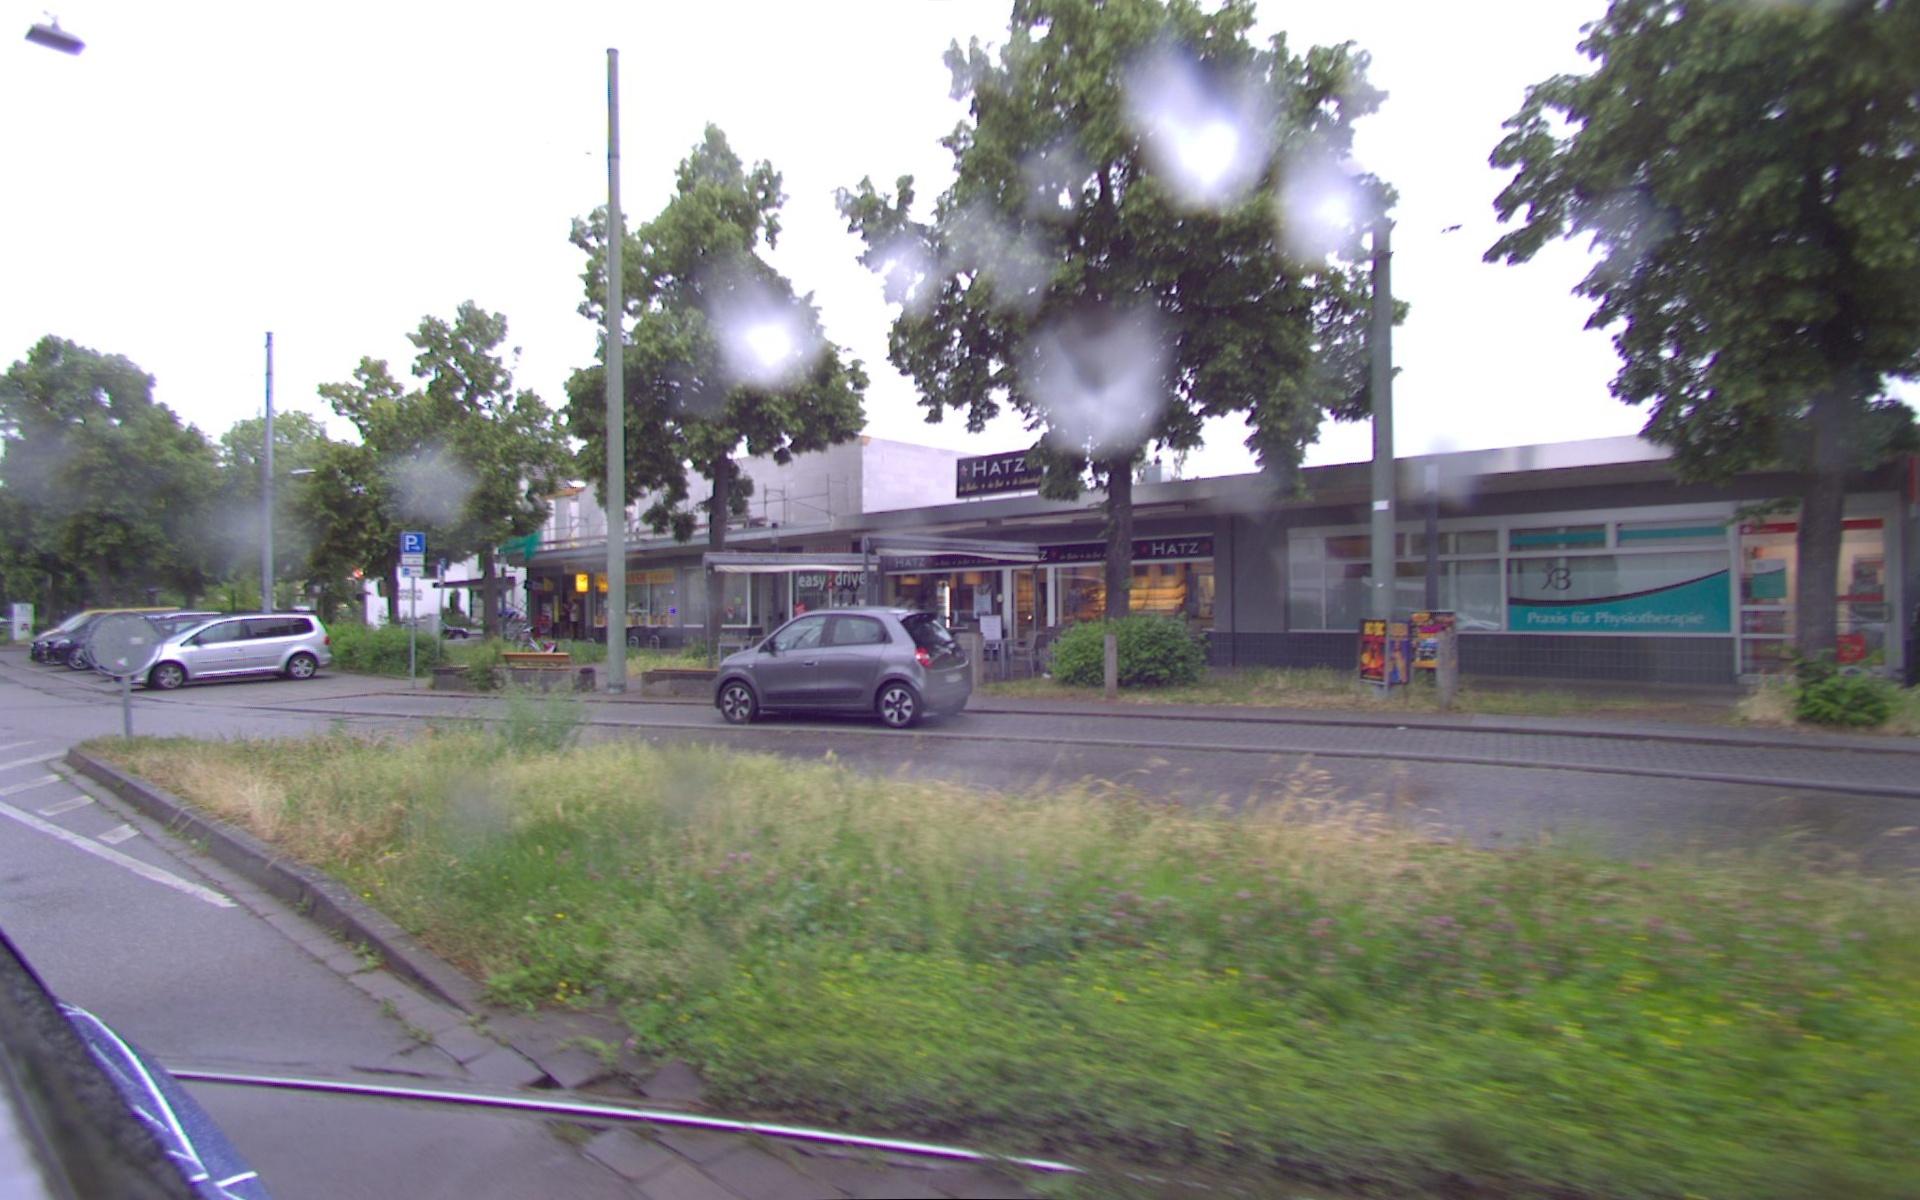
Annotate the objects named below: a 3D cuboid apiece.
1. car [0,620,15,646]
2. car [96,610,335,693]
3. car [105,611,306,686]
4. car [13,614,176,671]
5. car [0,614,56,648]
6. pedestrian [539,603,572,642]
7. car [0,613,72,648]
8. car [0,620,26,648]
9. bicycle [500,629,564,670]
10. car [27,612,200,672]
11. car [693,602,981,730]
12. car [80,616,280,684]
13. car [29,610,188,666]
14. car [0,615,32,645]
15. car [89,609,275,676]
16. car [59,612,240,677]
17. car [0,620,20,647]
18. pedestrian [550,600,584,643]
[{"bbox_3d":[-73.807,2.563,75.608,1.897,1.957,4.488,-2,0,40],"label":"car"},{"bbox_3d":[-17.814,1.168,24.362,1.999,1.686,4.280,-2,0,40],"label":"car"},{"bbox_3d":[-19.551,1.197,26.349,1.792,1.686,3.895,-2,0,40],"label":"car"},{"bbox_3d":[-31.481,1.498,36.904,1.897,1.823,4.248,-2,0,40],"label":"car"},{"bbox_3d":[-59.699,1.966,63.302,1.897,1.957,4.488,-2,0,40],"label":"car"},{"bbox_3d":[-16.751,0.916,41.941,1.063,1.596,0.950,0,0,-38],"label":"pedestrian"},{"bbox_3d":[-56.218,1.854,60.461,1.897,1.957,4.488,-2,0,40],"label":"car"},{"bbox_3d":[-69.821,2.466,72.213,1.898,1.957,4.488,-2,0,41],"label":"car"},{"bbox_3d":[-11.561,1.321,27.348,1.740,1.080,0.589,-1,-2,25],"label":"bicycle"},{"bbox_3d":[-27.388,1.312,32.835,1.897,1.722,4.036,-2,0,40],"label":"car"},{"bbox_3d":[-1.682,0.846,13.783,3.601,1.514,1.539,-2,1,25],"label":"car"},{"bbox_3d":[-21.455,1.322,27.949,1.999,1.583,4.036,-2,0,40],"label":"car"},{"bbox_3d":[-33.249,1.446,39.609,1.897,1.957,4.488,-2,0,40],"label":"car"},{"bbox_3d":[-64.628,2.051,66.992,1.897,1.957,4.488,-2,0,40],"label":"car"},{"bbox_3d":[-22.850,1.206,29.848,1.897,1.722,4.036,-2,0,40],"label":"car"},{"bbox_3d":[-24.761,1.307,31.004,1.897,1.722,4.036,-2,0,40],"label":"car"},{"bbox_3d":[-71.837,2.511,73.868,1.897,1.957,4.488,-2,0,40],"label":"car"},{"bbox_3d":[-15.953,0.857,41.068,1.063,1.727,0.950,0,0,-38],"label":"pedestrian"}]
